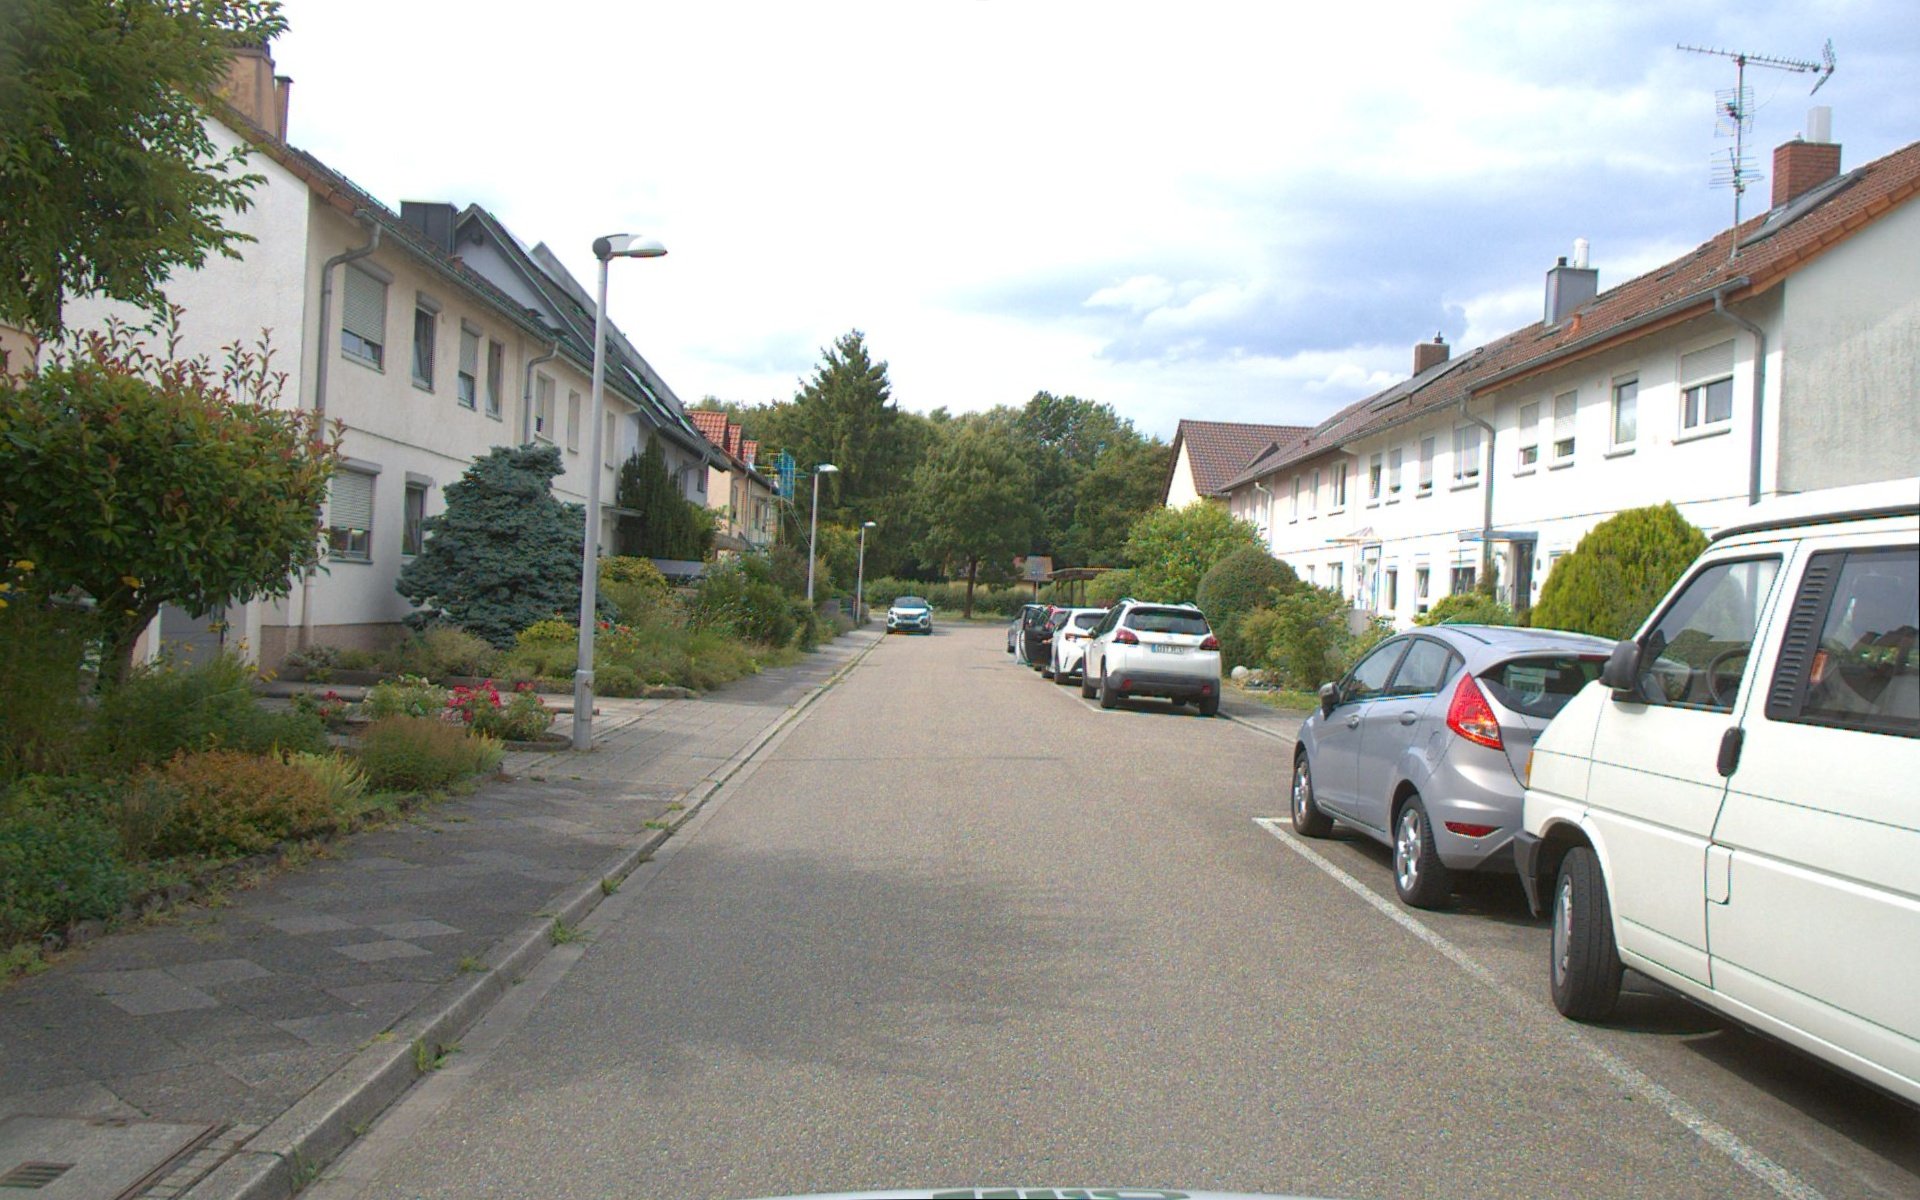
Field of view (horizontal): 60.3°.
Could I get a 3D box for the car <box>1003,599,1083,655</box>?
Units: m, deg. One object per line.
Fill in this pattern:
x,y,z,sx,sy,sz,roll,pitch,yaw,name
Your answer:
2.377,0.762,48.496,1.828,1.441,4.250,3,0,-3,car

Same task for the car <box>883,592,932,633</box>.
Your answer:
-2.162,0.482,69.300,1.894,1.583,4.634,2,0,-1,car

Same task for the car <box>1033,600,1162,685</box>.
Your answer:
2.592,0.770,32.153,1.802,1.437,4.633,2,0,-4,car

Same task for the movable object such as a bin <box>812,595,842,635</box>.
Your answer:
-4.593,0.510,57.210,0.930,1.335,1.000,2,0,-2,movable object such as a bin

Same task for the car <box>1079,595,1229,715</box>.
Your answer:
2.830,0.757,24.889,1.679,1.570,3.973,3,0,-1,car

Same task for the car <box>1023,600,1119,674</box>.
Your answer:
2.496,0.808,38.166,1.738,1.460,4.825,4,0,-1,car

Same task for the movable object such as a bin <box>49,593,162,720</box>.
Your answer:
-7.141,0.463,13.838,0.639,1.020,0.542,2,0,-2,movable object such as a bin

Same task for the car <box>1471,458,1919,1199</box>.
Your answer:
3.395,0.656,4.966,1.980,1.981,4.744,2,0,-3,car

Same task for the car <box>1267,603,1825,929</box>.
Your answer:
3.224,0.808,10.066,1.862,1.485,4.129,2,0,-1,car

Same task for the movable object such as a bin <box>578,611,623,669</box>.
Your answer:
-6.532,0.724,30.067,0.661,1.025,0.598,2,0,-1,movable object such as a bin
